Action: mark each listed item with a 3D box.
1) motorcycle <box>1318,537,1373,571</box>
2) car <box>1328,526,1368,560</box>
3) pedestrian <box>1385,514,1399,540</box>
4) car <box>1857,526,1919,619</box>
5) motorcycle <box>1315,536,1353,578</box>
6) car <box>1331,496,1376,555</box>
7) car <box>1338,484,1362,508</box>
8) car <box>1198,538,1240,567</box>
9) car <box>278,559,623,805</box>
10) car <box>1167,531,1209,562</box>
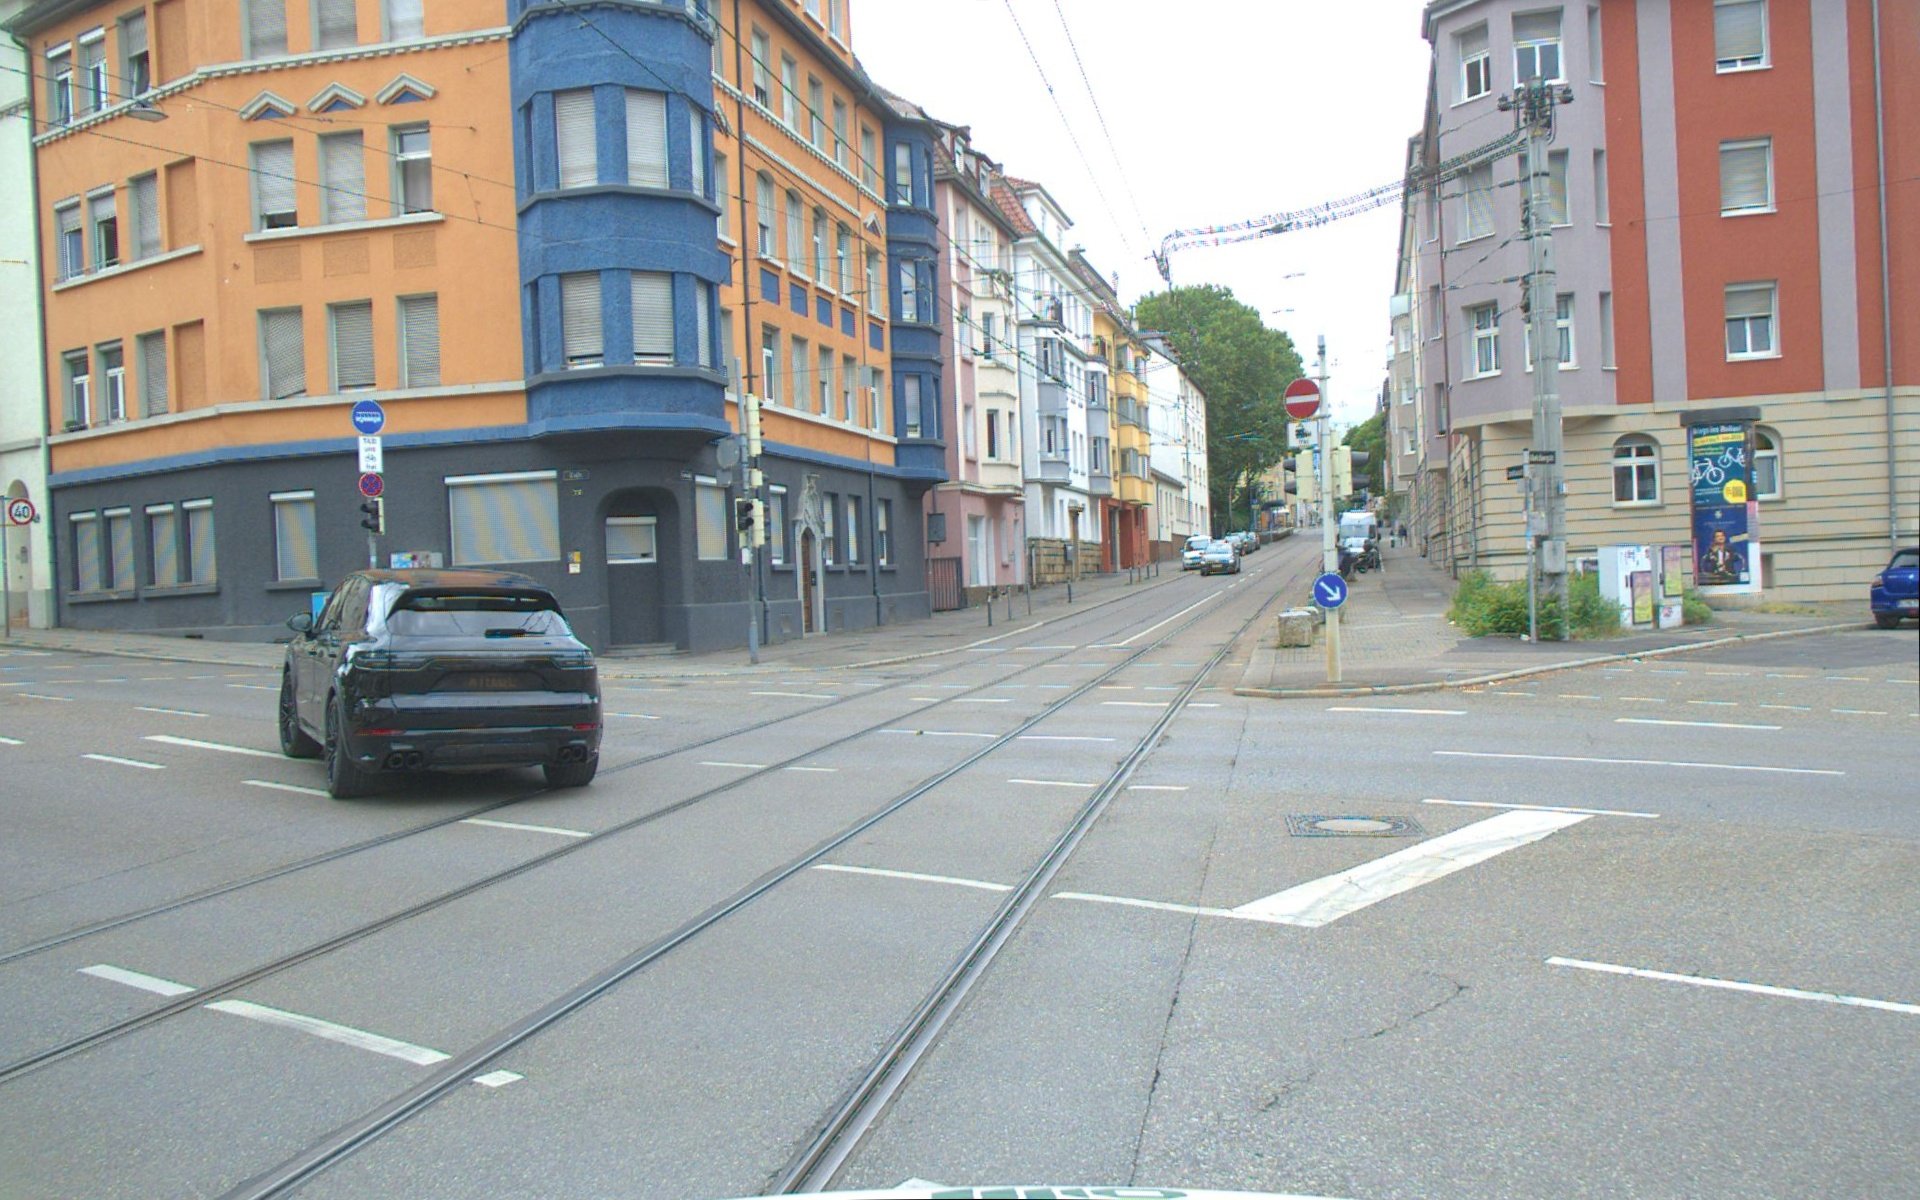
[{"bbox_3d":[15.804,-1.886,67.861,2.131,1.349,0.700,-1,1,4],"label":"motorcycle"},{"bbox_3d":[18.893,-2.748,80.380,1.801,1.596,3.823,0,2,14],"label":"car"},{"bbox_3d":[28.200,-4.745,107.943,0.668,1.660,0.671,-1,-2,36],"label":"pedestrian"},{"bbox_3d":[18.391,-0.572,30.069,4.088,1.561,1.898,-4,3,-32],"label":"car"},{"bbox_3d":[13.013,-1.500,57.604,0.842,1.348,2.185,-7,1,5],"label":"motorcycle"},{"bbox_3d":[20.488,-3.832,86.025,2.219,2.940,4.774,0,2,14],"label":"car"},{"bbox_3d":[38.927,-10.345,165.029,2.219,2.221,4.774,0,2,14],"label":"car"},{"bbox_3d":[12.421,-2.297,79.195,1.650,1.349,3.665,0,2,14],"label":"car"},{"bbox_3d":[-4.346,0.531,13.616,2.000,1.670,4.317,0,1,-27],"label":"car"},{"bbox_3d":[12.954,-3.020,93.806,1.951,1.722,4.004,0,2,14],"label":"car"}]
